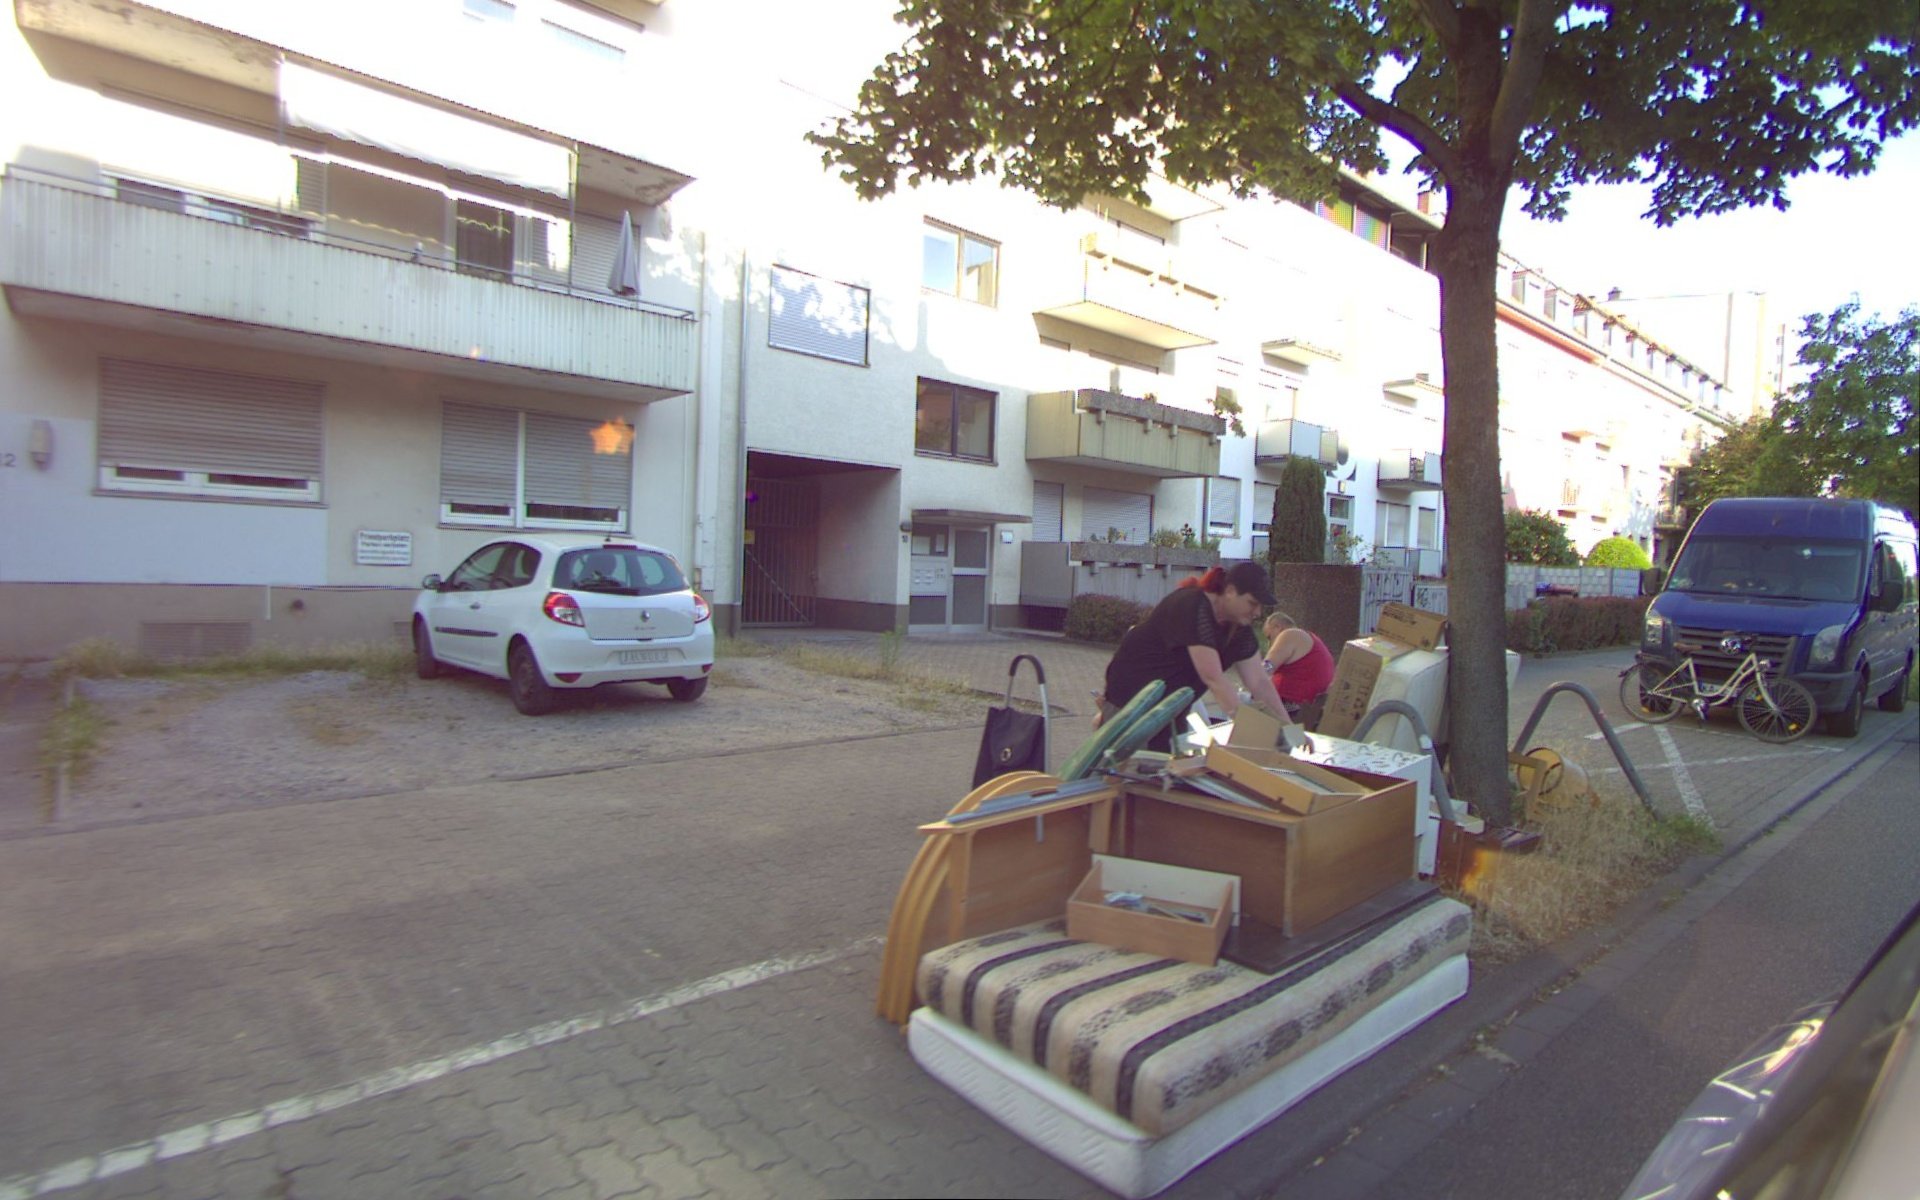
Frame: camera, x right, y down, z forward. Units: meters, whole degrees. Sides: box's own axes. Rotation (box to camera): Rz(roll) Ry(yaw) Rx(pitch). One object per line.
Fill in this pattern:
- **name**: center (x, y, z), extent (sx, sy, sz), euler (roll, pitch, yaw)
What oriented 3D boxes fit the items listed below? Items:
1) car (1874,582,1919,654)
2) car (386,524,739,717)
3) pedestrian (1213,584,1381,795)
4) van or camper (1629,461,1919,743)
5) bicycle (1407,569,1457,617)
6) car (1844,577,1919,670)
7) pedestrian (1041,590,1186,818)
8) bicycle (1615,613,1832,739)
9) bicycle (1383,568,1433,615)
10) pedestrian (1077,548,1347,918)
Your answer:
- **car**: center (22.409, 0.413, 23.179), extent (1.922, 1.504, 4.669), euler (4, 2, 45)
- **car**: center (-4.009, 0.064, 9.847), extent (1.794, 1.480, 3.991), euler (0, 2, -44)
- **pedestrian**: center (2.243, 0.550, 6.753), extent (0.689, 1.270, 0.798), euler (1, 2, -43)
- **van or camper**: center (10.389, -0.063, 12.440), extent (5.886, 2.708, 2.072), euler (-1, 3, -41)
- **bicycle**: center (11.236, -0.170, 24.067), extent (1.518, 1.102, 0.493), euler (0, 2, -42)
- **car**: center (18.758, 0.413, 19.830), extent (3.694, 1.662, 1.775), euler (-1, 3, -43)
- **pedestrian**: center (0.944, 0.585, 6.172), extent (0.649, 1.270, 0.651), euler (3, 2, 30)
- **bicycle**: center (7.807, 0.736, 10.429), extent (0.397, 1.102, 1.706), euler (1, 2, -38)
- **bicycle**: center (10.888, -0.199, 24.561), extent (1.518, 1.102, 0.493), euler (0, 2, -42)
- **pedestrian**: center (1.138, 0.531, 4.609), extent (1.056, 1.494, 0.474), euler (3, 2, 30)
